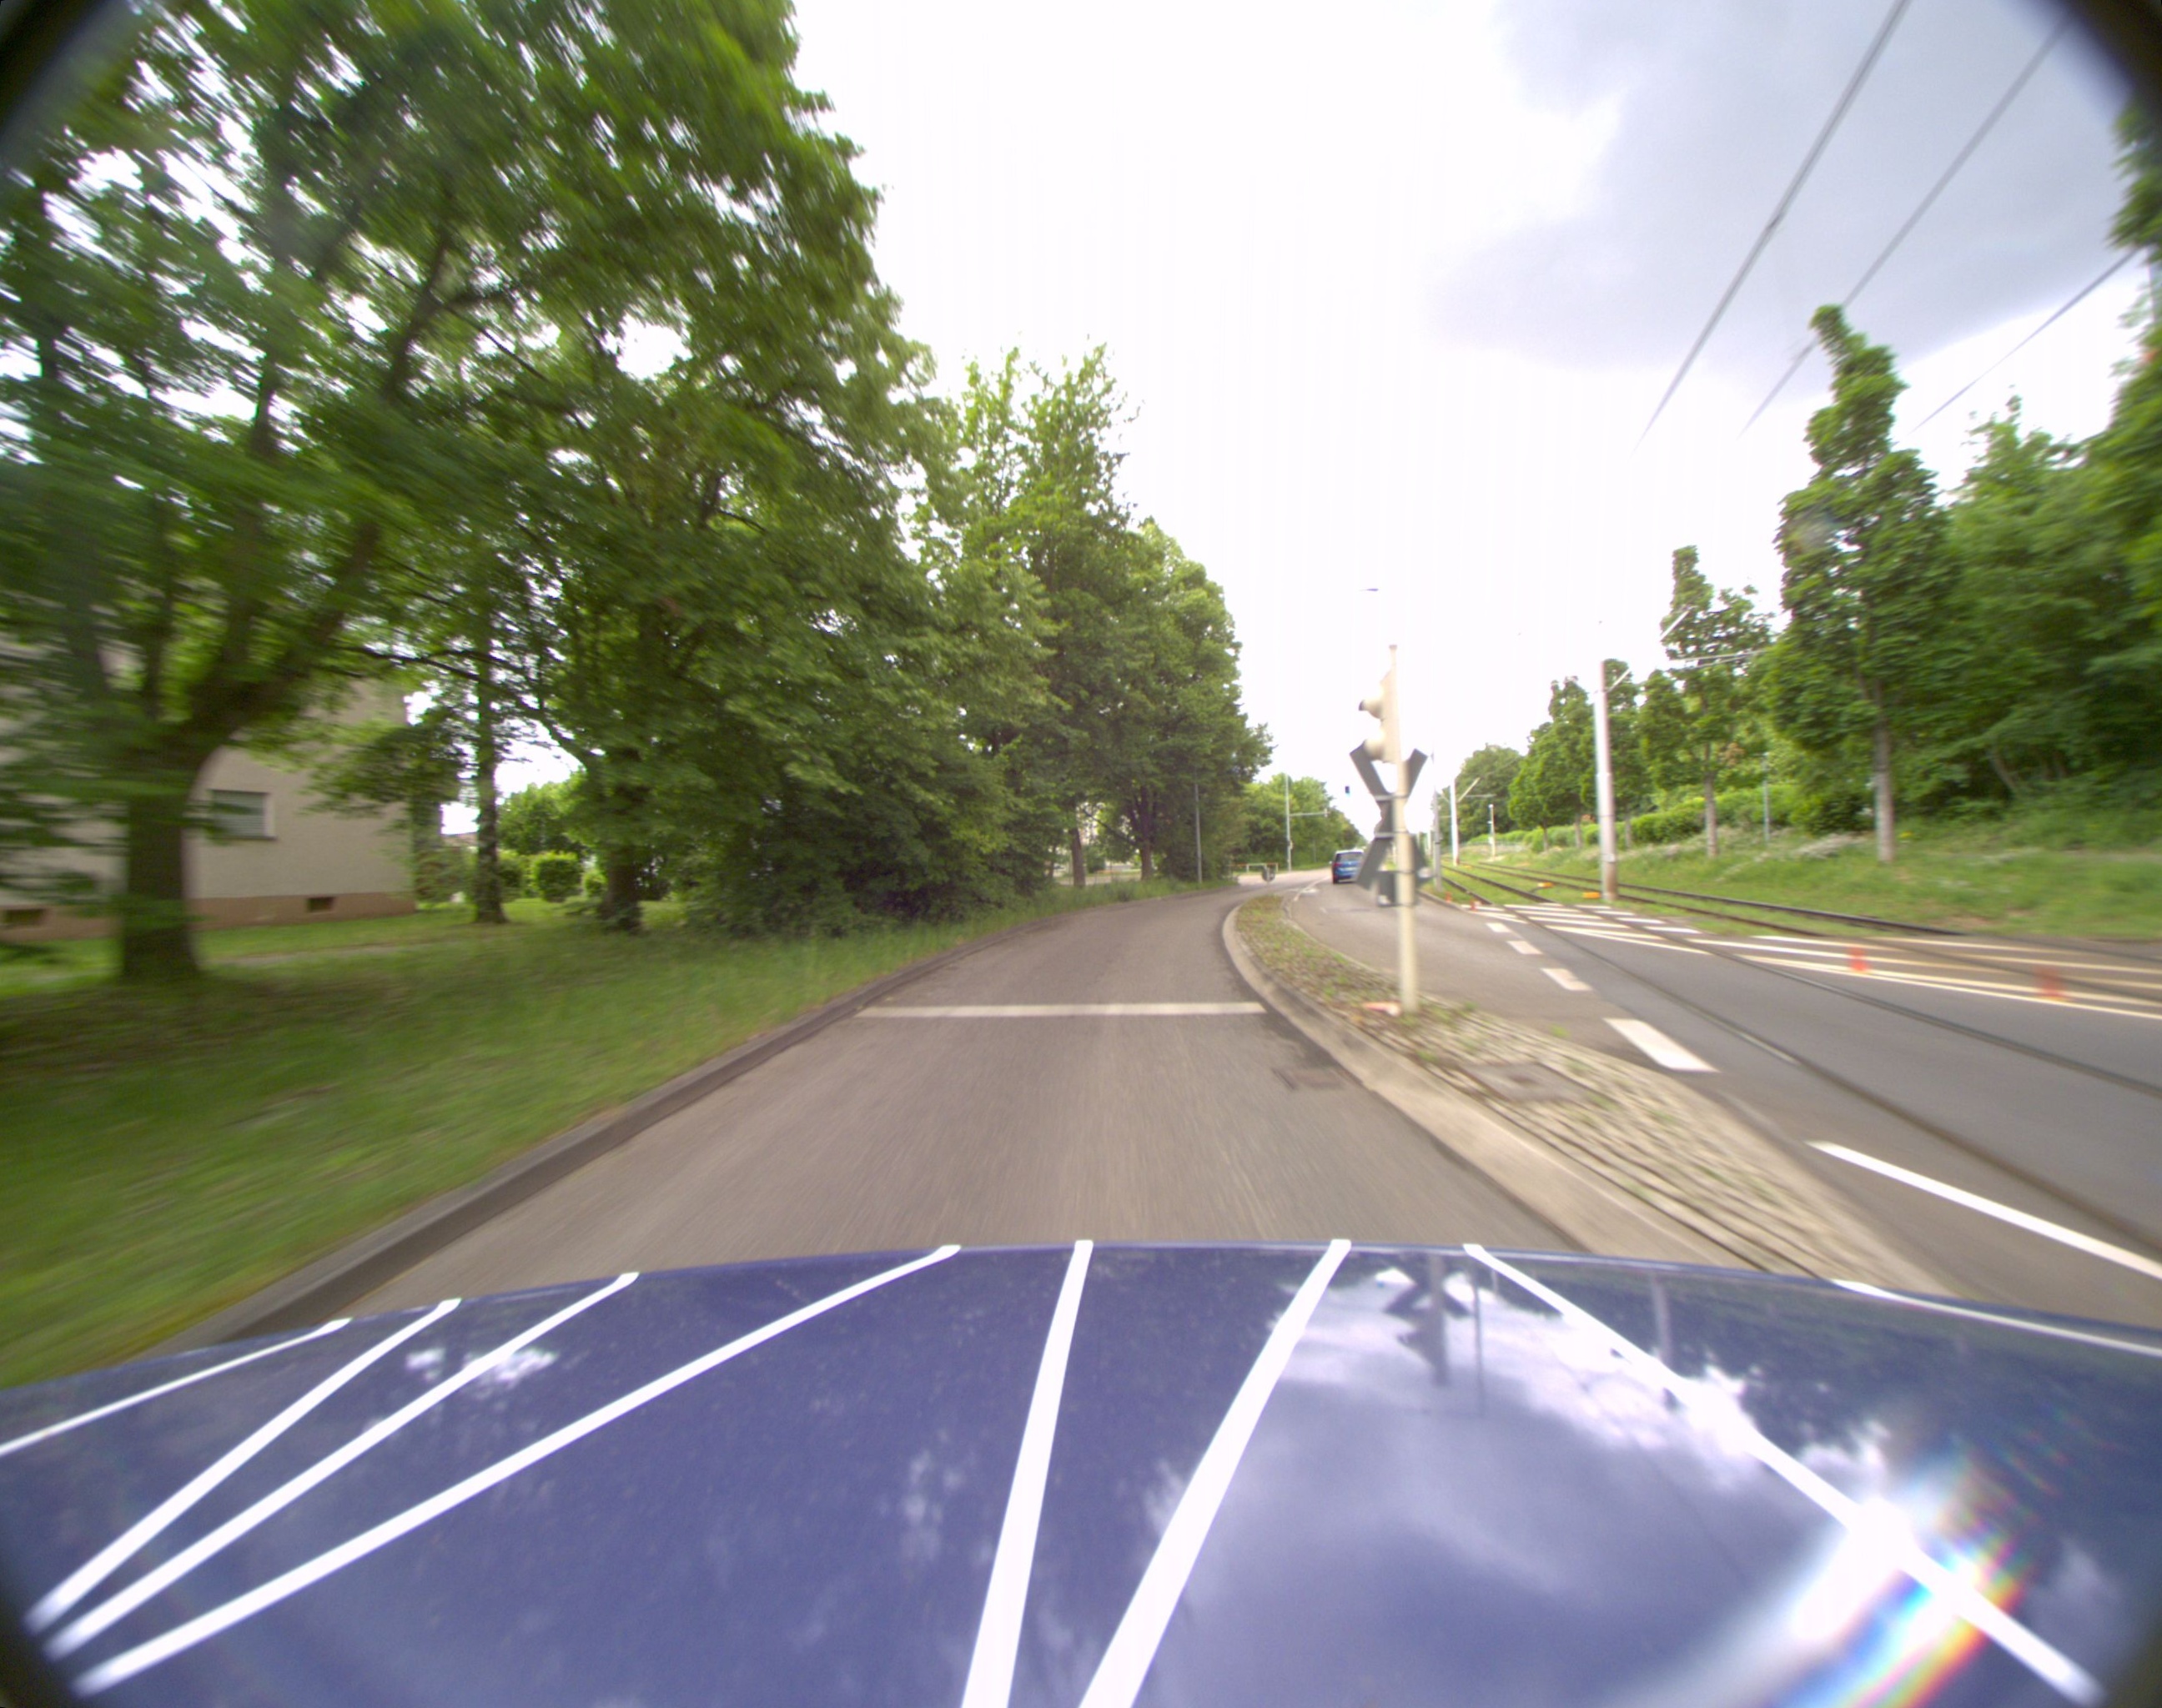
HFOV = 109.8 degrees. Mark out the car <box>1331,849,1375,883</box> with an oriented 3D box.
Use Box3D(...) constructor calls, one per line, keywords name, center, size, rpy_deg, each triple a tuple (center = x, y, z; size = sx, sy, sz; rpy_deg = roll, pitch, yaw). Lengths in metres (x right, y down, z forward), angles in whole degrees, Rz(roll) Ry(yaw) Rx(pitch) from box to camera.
Box3D(name="car", center=(13.612, 0.603, 38.240), size=(1.870, 1.511, 4.245), rpy_deg=(-3, -1, 18))
